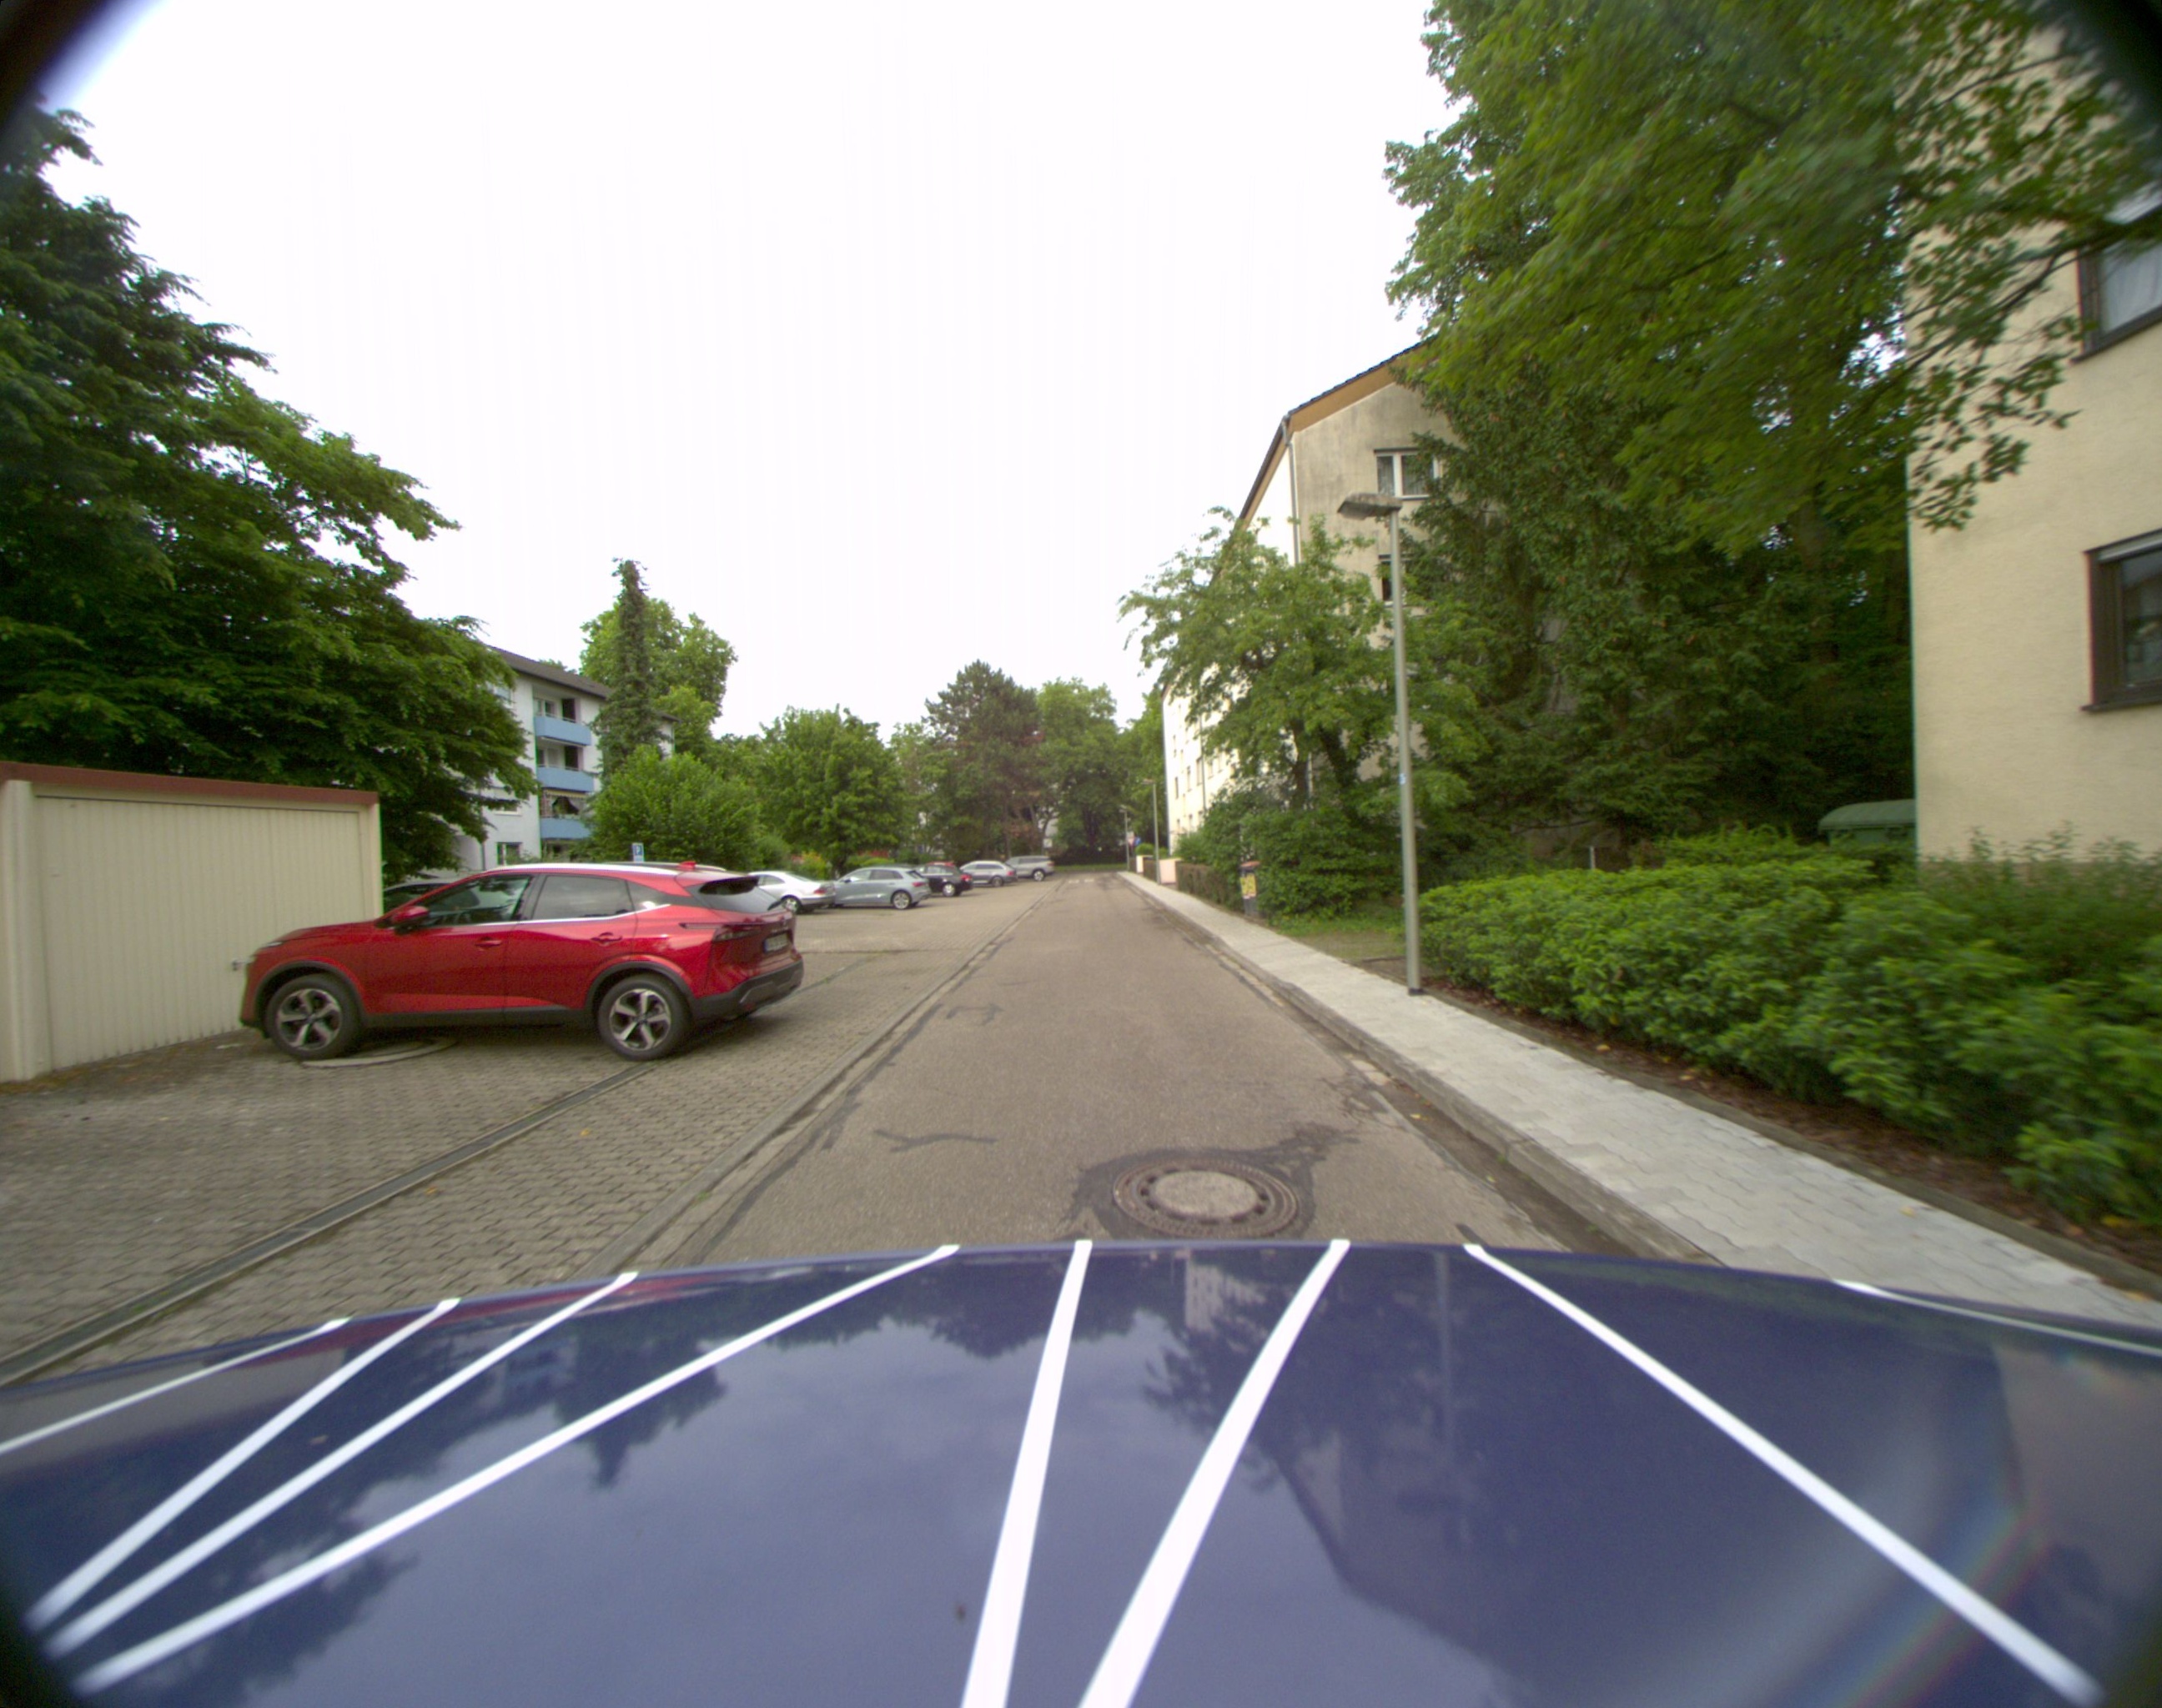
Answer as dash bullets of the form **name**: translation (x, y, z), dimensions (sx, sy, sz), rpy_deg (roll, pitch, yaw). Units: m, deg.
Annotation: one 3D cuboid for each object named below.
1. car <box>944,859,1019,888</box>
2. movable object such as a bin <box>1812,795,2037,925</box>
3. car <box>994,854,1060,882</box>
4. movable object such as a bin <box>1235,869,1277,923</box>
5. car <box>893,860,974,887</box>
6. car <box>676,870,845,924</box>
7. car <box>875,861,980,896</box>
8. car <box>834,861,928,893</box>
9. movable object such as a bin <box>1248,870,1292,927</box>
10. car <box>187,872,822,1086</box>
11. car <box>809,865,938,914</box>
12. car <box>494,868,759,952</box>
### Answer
- **car**: translation (-5.812, 1.110, 44.689), dimensions (4.104, 1.476, 1.787), rpy_deg (-3, 0, 0)
- **movable object such as a bin**: translation (10.255, 0.065, 9.333), dimensions (1.107, 1.426, 1.479), rpy_deg (-2, 1, -1)
- **car**: translation (-3.485, 0.889, 49.729), dimensions (4.104, 1.636, 1.787), rpy_deg (-3, 0, 0)
- **movable object such as a bin**: translation (3.445, 0.819, 14.965), dimensions (0.597, 1.016, 0.536), rpy_deg (-1, 1, -19)
- **car**: translation (-8.167, 1.059, 42.310), dimensions (4.103, 1.476, 1.787), rpy_deg (0, 0, 1)
- **car**: translation (-10.005, 1.331, 24.008), dimensions (4.404, 1.377, 2.026), rpy_deg (-3, 0, -2)
- **car**: translation (-6.859, 1.079, 34.171), dimensions (4.334, 1.476, 1.787), rpy_deg (0, 0, 1)
- **car**: translation (-9.767, 1.103, 37.328), dimensions (4.103, 1.476, 1.787), rpy_deg (0, 0, 1)
- **movable object such as a bin**: translation (3.551, 0.824, 14.312), dimensions (0.597, 1.016, 0.536), rpy_deg (-1, 1, -19)
- **car**: translation (-4.873, 1.008, 6.967), dimensions (4.299, 1.577, 1.935), rpy_deg (-1, 0, 0)
- **car**: translation (-7.174, 1.219, 26.543), dimensions (3.976, 1.426, 1.731), rpy_deg (-3, 0, -2)
- **car**: translation (-9.750, 1.167, 16.592), dimensions (4.586, 1.521, 1.866), rpy_deg (-2, 0, 0)
